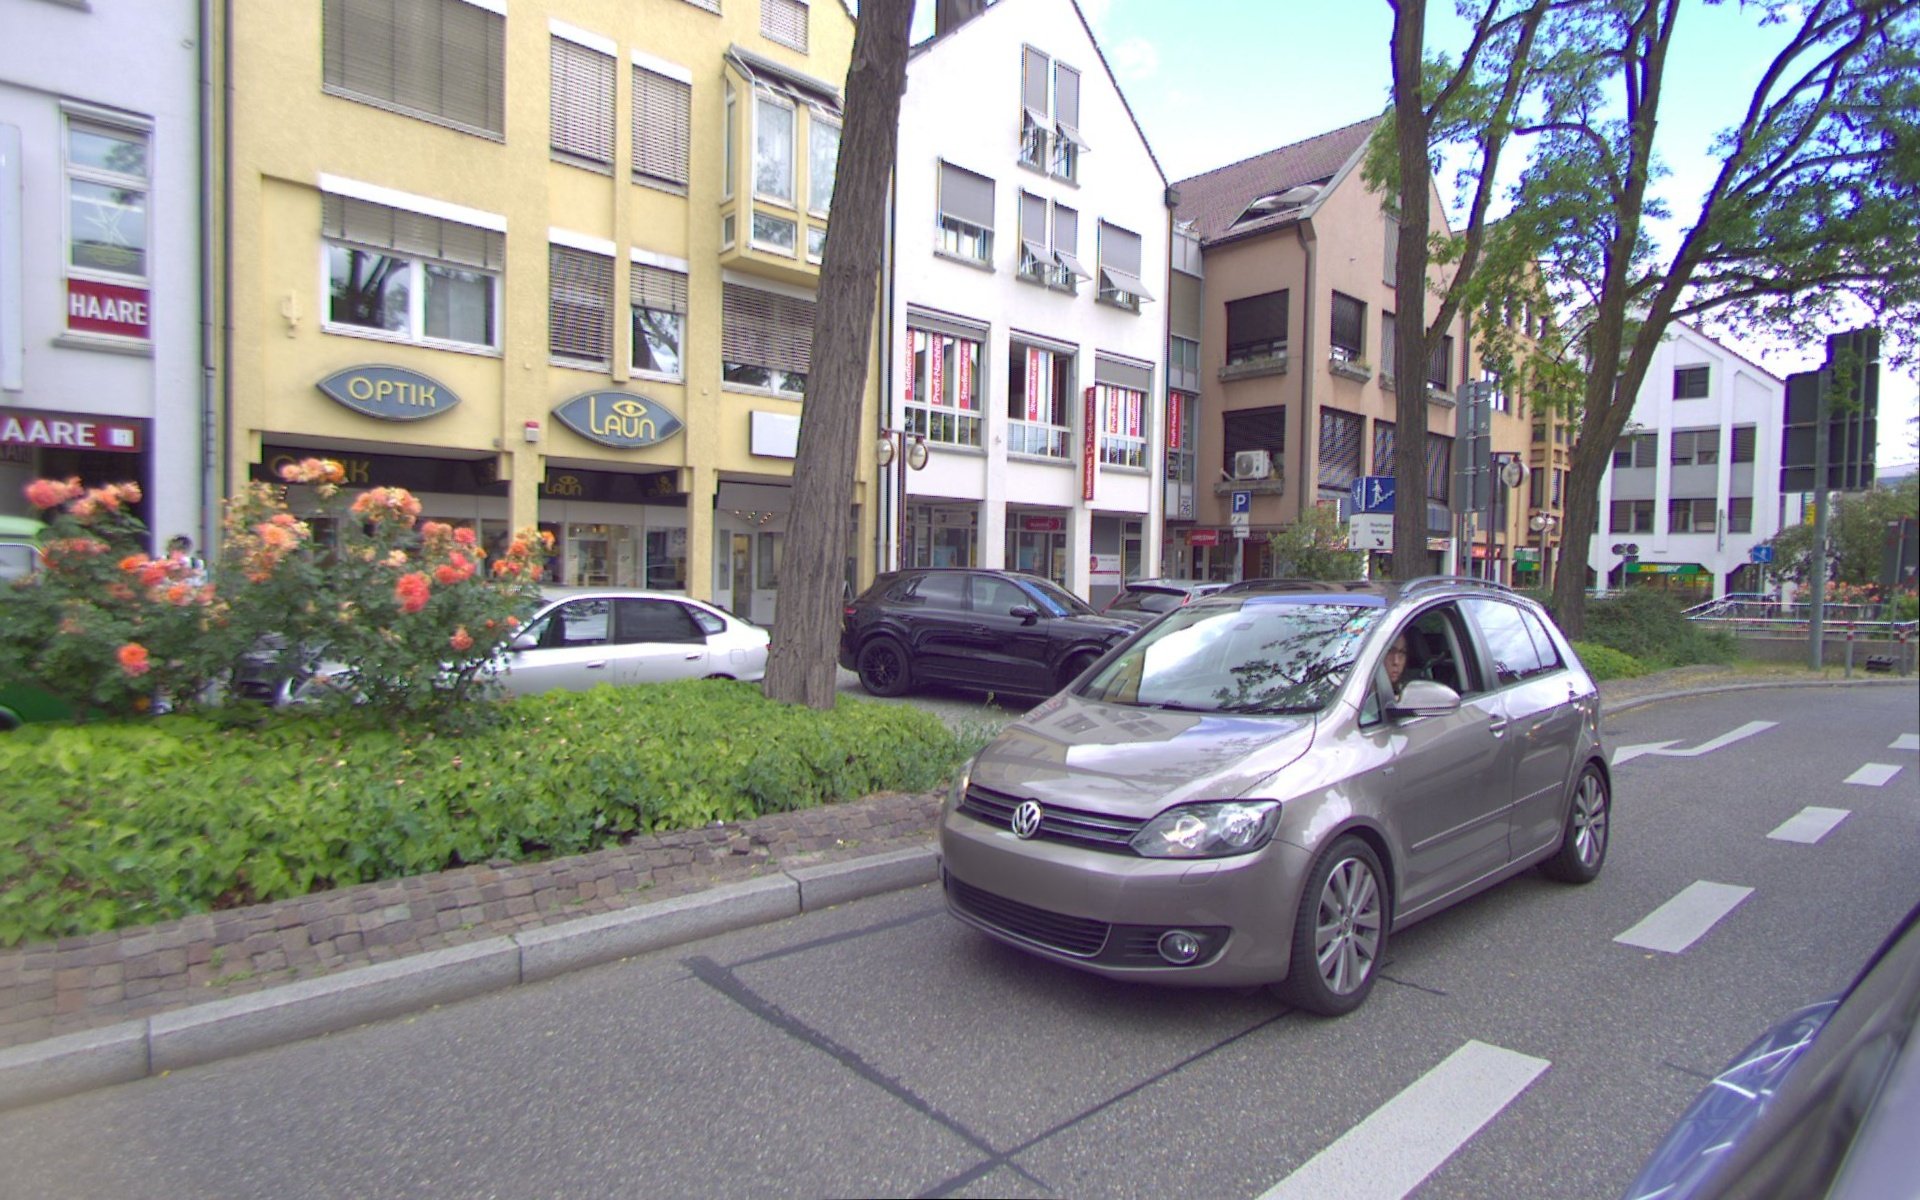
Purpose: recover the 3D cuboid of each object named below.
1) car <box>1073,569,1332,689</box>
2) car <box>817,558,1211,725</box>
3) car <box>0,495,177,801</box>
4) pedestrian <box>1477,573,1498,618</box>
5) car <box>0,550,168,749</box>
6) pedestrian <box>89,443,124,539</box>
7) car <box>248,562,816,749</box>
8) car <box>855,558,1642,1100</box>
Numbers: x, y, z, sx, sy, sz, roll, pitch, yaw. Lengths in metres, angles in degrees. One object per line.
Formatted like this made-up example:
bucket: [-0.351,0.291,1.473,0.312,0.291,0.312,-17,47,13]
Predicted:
car: [4.160,0.359,16.898,4.676,1.674,1.996,-1,4,-44]
car: [0.661,0.408,13.211,4.710,1.699,1.981,3,2,28]
car: [-7.681,0.267,5.987,4.674,1.899,1.996,-1,4,-43]
pedestrian: [19.878,-0.171,38.145,0.495,1.645,0.494,0,1,-35]
car: [-9.323,0.386,7.988,4.676,1.566,1.996,-1,4,-44]
pedestrian: [-14.914,-1.885,17.683,0.417,1.631,0.555,0,2,-45]
car: [-3.844,0.351,9.688,4.674,1.325,1.841,-1,4,-43]
car: [1.619,0.650,4.876,3.930,1.549,1.800,0,0,-41]
